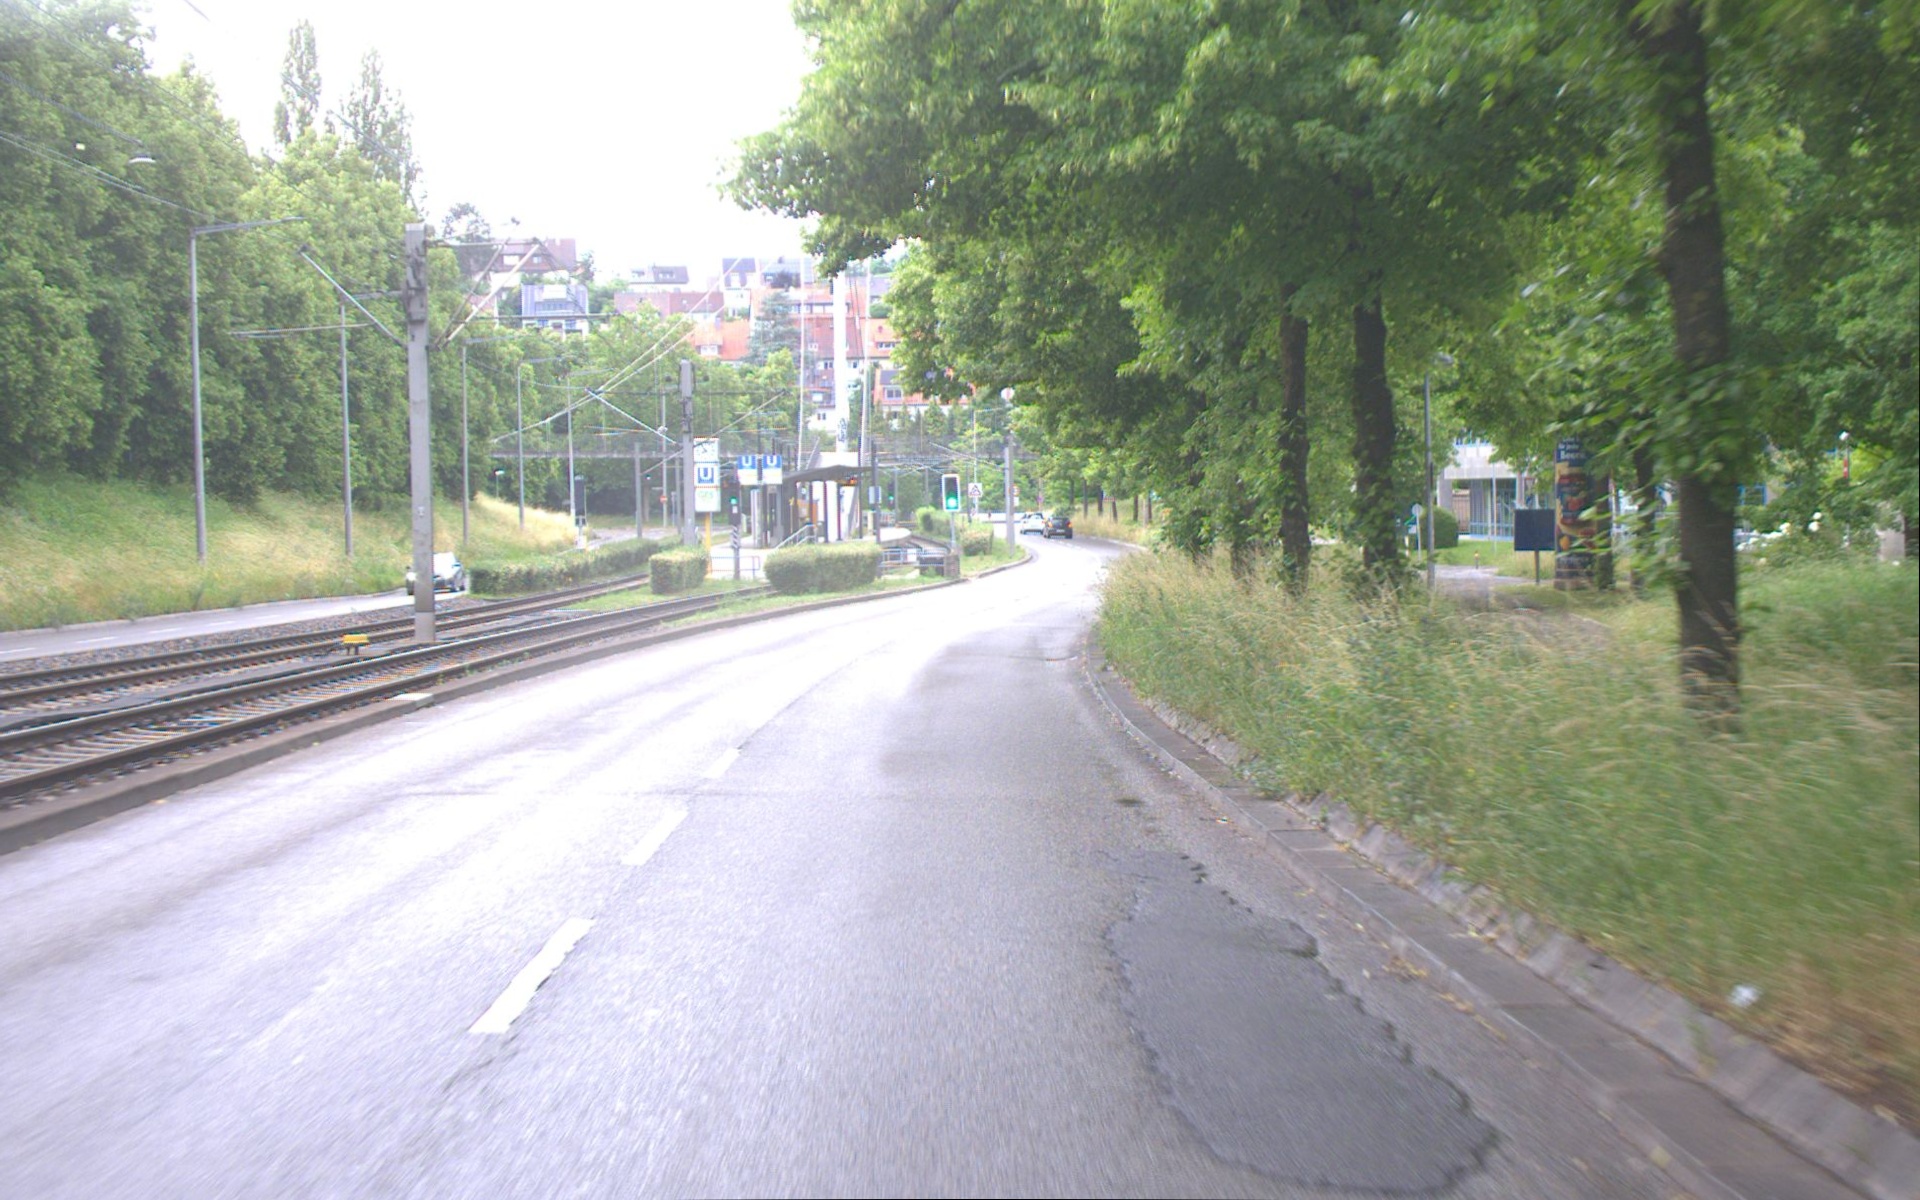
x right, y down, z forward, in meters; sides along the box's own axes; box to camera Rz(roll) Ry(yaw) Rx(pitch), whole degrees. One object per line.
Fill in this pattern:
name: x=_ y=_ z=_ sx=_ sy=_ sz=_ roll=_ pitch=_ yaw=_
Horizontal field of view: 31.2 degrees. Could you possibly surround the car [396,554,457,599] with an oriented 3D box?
car: x=-19.731 y=-0.884 z=127.282 sx=1.784 sy=1.546 sz=3.962 roll=-2 pitch=1 yaw=-3
